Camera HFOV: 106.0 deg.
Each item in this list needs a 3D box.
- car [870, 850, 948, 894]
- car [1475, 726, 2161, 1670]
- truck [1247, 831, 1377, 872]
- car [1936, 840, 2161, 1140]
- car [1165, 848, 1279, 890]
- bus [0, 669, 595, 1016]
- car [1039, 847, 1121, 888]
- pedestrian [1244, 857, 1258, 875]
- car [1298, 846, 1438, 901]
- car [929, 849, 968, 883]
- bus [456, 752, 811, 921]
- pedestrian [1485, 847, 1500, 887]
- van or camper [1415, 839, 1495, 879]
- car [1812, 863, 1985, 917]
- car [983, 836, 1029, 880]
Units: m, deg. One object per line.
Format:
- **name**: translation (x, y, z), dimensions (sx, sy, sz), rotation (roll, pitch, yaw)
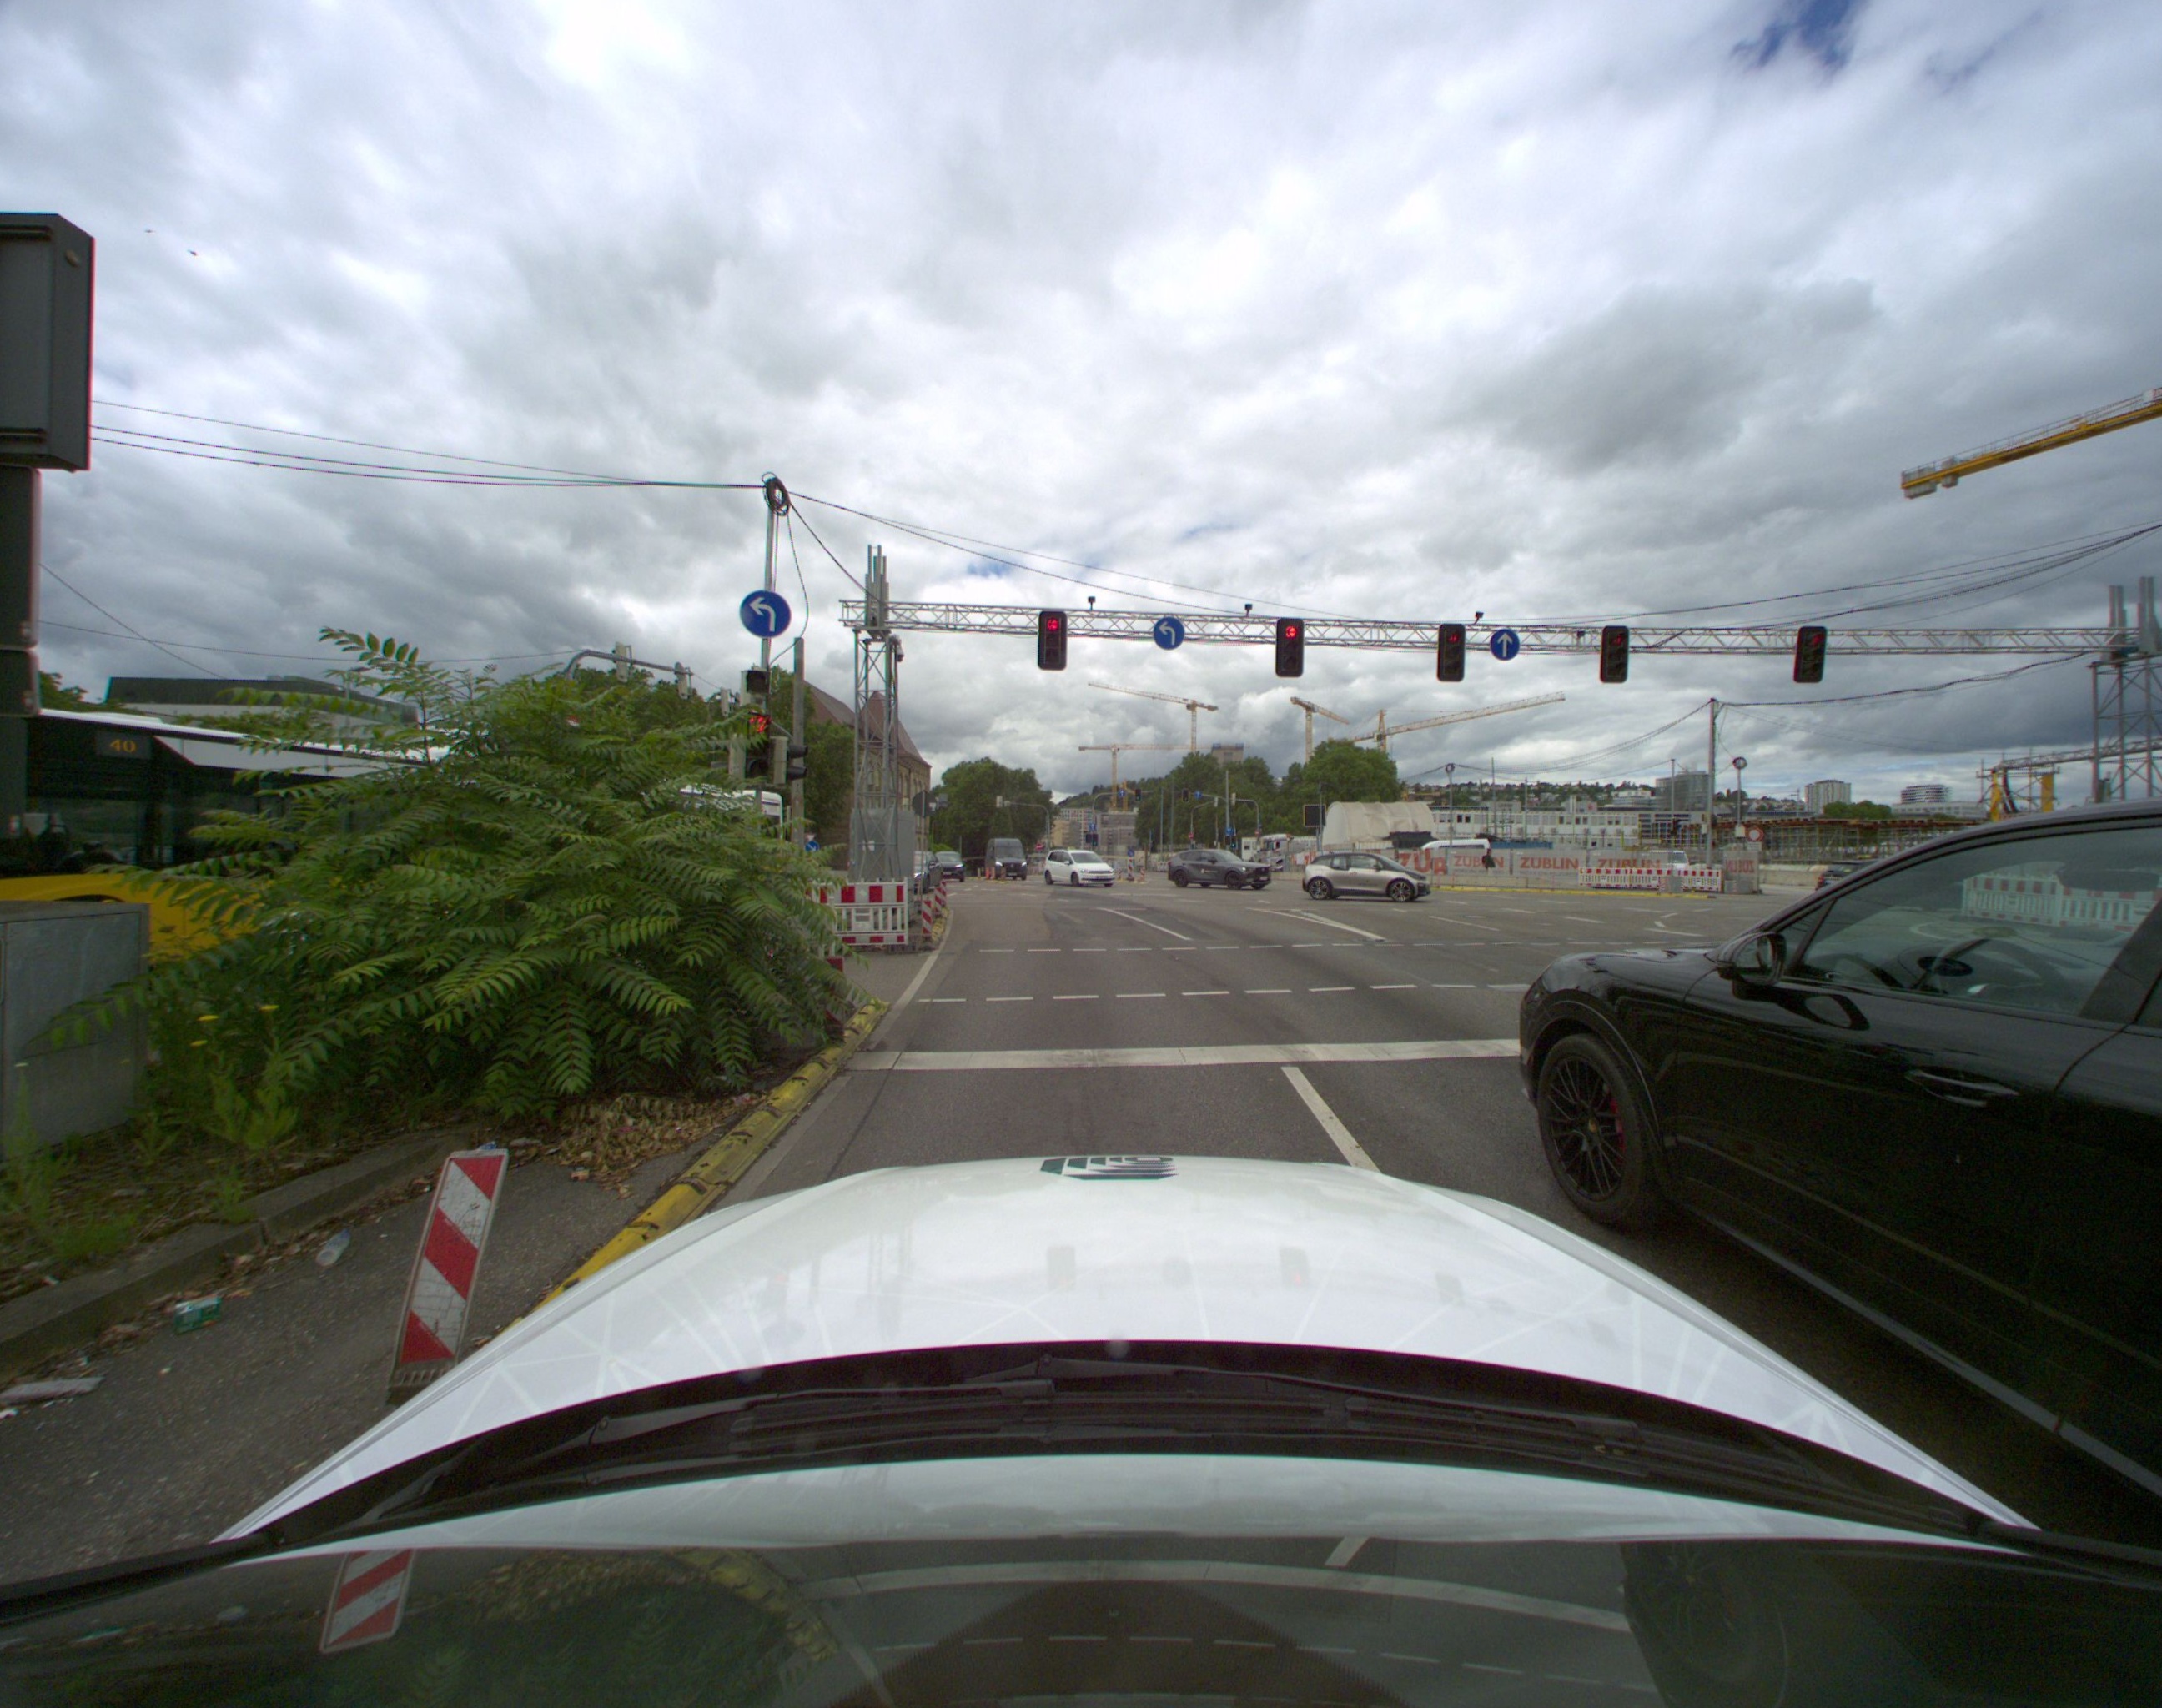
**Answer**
- **car**: translation (-6.154, 0.583, 29.714), dimensions (1.872, 1.472, 4.444), rotation (0, 0, 0)
- **car**: translation (2.924, 0.617, 1.874), dimensions (1.947, 1.686, 4.637), rotation (0, 0, 2)
- **truck**: translation (23.857, -0.267, 83.861), dimensions (13.065, 4.041, 3.925), rotation (0, 0, -19)
- **car**: translation (6.375, 0.709, 3.397), dimensions (1.657, 1.543, 3.884), rotation (0, 0, 2)
- **car**: translation (5.974, 0.573, 34.796), dimensions (1.895, 1.670, 4.552), rotation (0, 0, -45)
- **bus**: translation (-10.826, -0.117, 10.231), dimensions (2.831, 3.114, 9.764), rotation (0, 0, 6)
- **car**: translation (-0.136, 0.563, 36.960), dimensions (1.889, 1.736, 4.404), rotation (0, 0, -28)
- **pedestrian**: translation (13.154, 0.919, 62.911), dimensions (0.796, 1.378, 0.902), rotation (0, 0, -8)
- **car**: translation (9.353, 0.584, 26.615), dimensions (4.013, 1.668, 1.812), rotation (0, 0, 33)
- **car**: translation (-6.964, 0.569, 42.535), dimensions (1.879, 1.670, 4.428), rotation (0, 0, -11)
- **bus**: translation (-9.815, -0.343, 19.621), dimensions (2.832, 3.114, 9.135), rotation (0, 0, 5)
- **pedestrian**: translation (21.041, 0.664, 41.655), dimensions (0.645, 2.013, 0.520), rotation (0, 0, 26)
- **van or camper**: translation (22.621, 0.278, 49.418), dimensions (4.181, 2.357, 2.008), rotation (0, 0, 16)
- **car**: translation (26.581, 1.151, 26.564), dimensions (4.043, 1.668, 1.798), rotation (0, 0, -3)
- **car**: translation (-4.798, 0.239, 51.221), dimensions (2.060, 2.594, 5.985), rotation (0, 0, -14)
